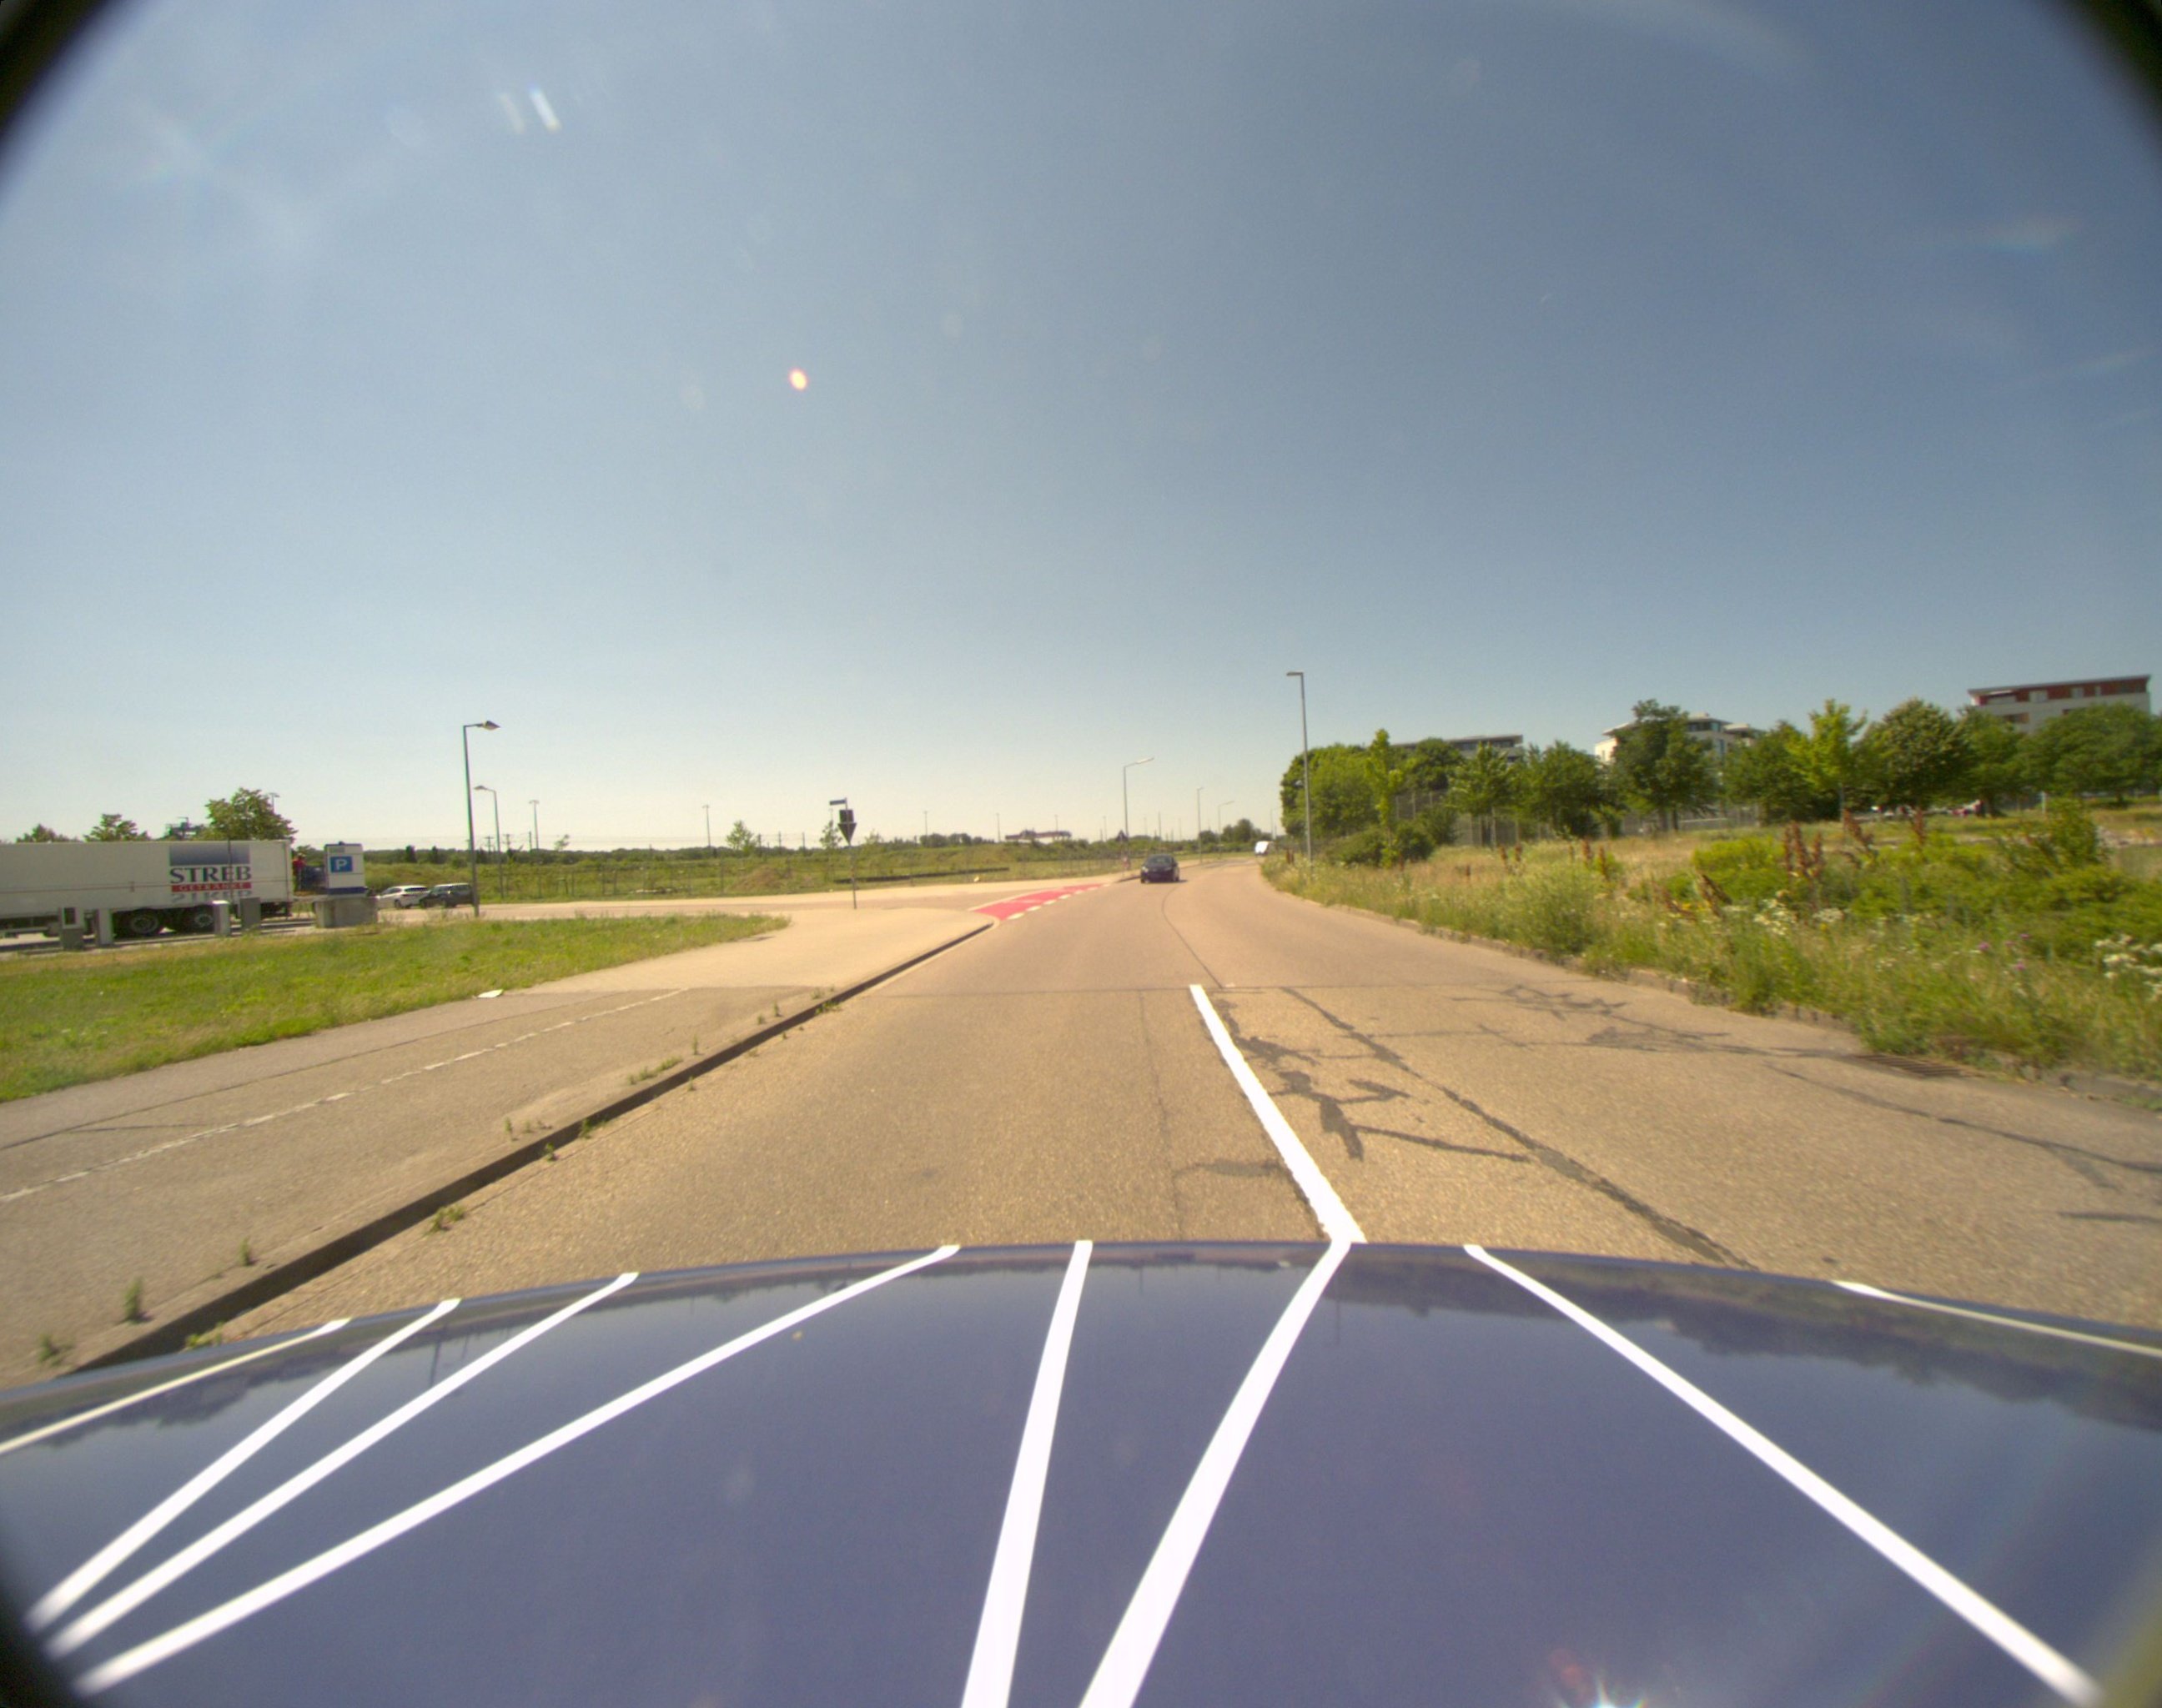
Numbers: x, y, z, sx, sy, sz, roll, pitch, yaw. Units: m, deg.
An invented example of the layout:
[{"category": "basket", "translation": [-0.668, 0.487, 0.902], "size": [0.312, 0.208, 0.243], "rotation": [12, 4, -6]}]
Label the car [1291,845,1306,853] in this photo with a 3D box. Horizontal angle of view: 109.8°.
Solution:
[{"category": "car", "translation": [43.695, -1.094, 152.441], "size": [1.651, 1.458, 3.873], "rotation": [-3, 0, 37]}]

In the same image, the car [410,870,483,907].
[{"category": "car", "translation": [-37.503, 2.040, 44.917], "size": [3.906, 2.002, 1.884], "rotation": [-3, 0, 28]}]

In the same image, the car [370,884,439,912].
[{"category": "car", "translation": [-42.283, 2.772, 47.503], "size": [4.035, 1.548, 1.752], "rotation": [-3, 0, 26]}]

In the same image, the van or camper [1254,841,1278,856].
[{"category": "van or camper", "translation": [32.326, -0.959, 132.685], "size": [2.137, 2.557, 5.877], "rotation": [-3, 0, 33]}]

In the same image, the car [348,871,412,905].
[{"category": "car", "translation": [-49.111, 2.397, 53.235], "size": [3.907, 2.002, 1.883], "rotation": [-4, 1, 26]}]

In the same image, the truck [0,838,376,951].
[{"category": "truck", "translation": [-33.252, 1.211, 26.613], "size": [3.011, 3.442, 12.159], "rotation": [-1, 1, 27]}]

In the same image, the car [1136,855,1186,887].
[{"category": "car", "translation": [4.174, 0.844, 39.164], "size": [1.652, 1.458, 4.165], "rotation": [-3, 0, 19]}]
